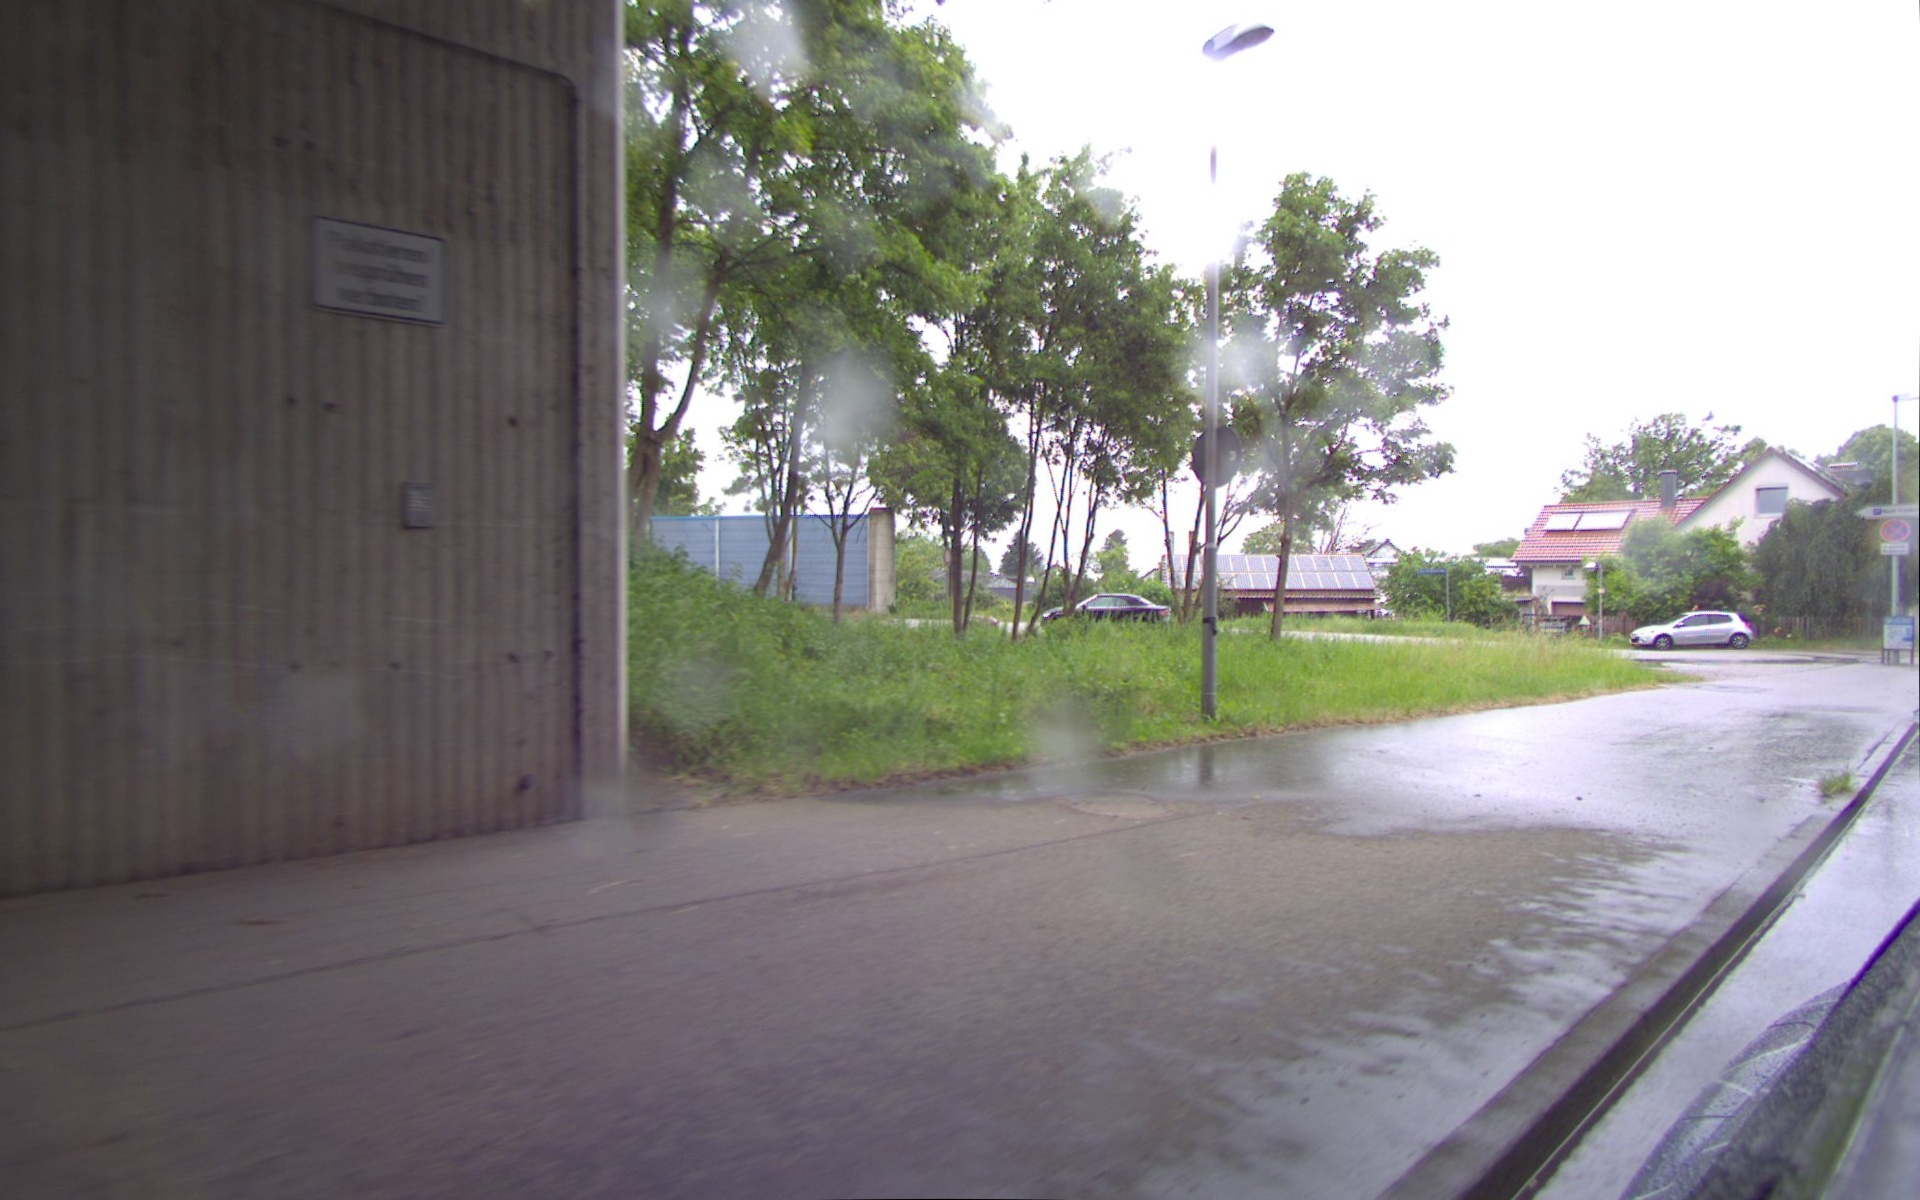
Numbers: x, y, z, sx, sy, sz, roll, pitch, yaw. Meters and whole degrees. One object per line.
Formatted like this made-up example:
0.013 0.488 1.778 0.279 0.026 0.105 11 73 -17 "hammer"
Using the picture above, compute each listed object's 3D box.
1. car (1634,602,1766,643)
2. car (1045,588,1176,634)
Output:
29.262 0.907 40.147 3.805 1.551 1.709 -1 -1 18 "car"
4.933 0.367 33.039 4.053 1.376 1.895 -1 -1 16 "car"
